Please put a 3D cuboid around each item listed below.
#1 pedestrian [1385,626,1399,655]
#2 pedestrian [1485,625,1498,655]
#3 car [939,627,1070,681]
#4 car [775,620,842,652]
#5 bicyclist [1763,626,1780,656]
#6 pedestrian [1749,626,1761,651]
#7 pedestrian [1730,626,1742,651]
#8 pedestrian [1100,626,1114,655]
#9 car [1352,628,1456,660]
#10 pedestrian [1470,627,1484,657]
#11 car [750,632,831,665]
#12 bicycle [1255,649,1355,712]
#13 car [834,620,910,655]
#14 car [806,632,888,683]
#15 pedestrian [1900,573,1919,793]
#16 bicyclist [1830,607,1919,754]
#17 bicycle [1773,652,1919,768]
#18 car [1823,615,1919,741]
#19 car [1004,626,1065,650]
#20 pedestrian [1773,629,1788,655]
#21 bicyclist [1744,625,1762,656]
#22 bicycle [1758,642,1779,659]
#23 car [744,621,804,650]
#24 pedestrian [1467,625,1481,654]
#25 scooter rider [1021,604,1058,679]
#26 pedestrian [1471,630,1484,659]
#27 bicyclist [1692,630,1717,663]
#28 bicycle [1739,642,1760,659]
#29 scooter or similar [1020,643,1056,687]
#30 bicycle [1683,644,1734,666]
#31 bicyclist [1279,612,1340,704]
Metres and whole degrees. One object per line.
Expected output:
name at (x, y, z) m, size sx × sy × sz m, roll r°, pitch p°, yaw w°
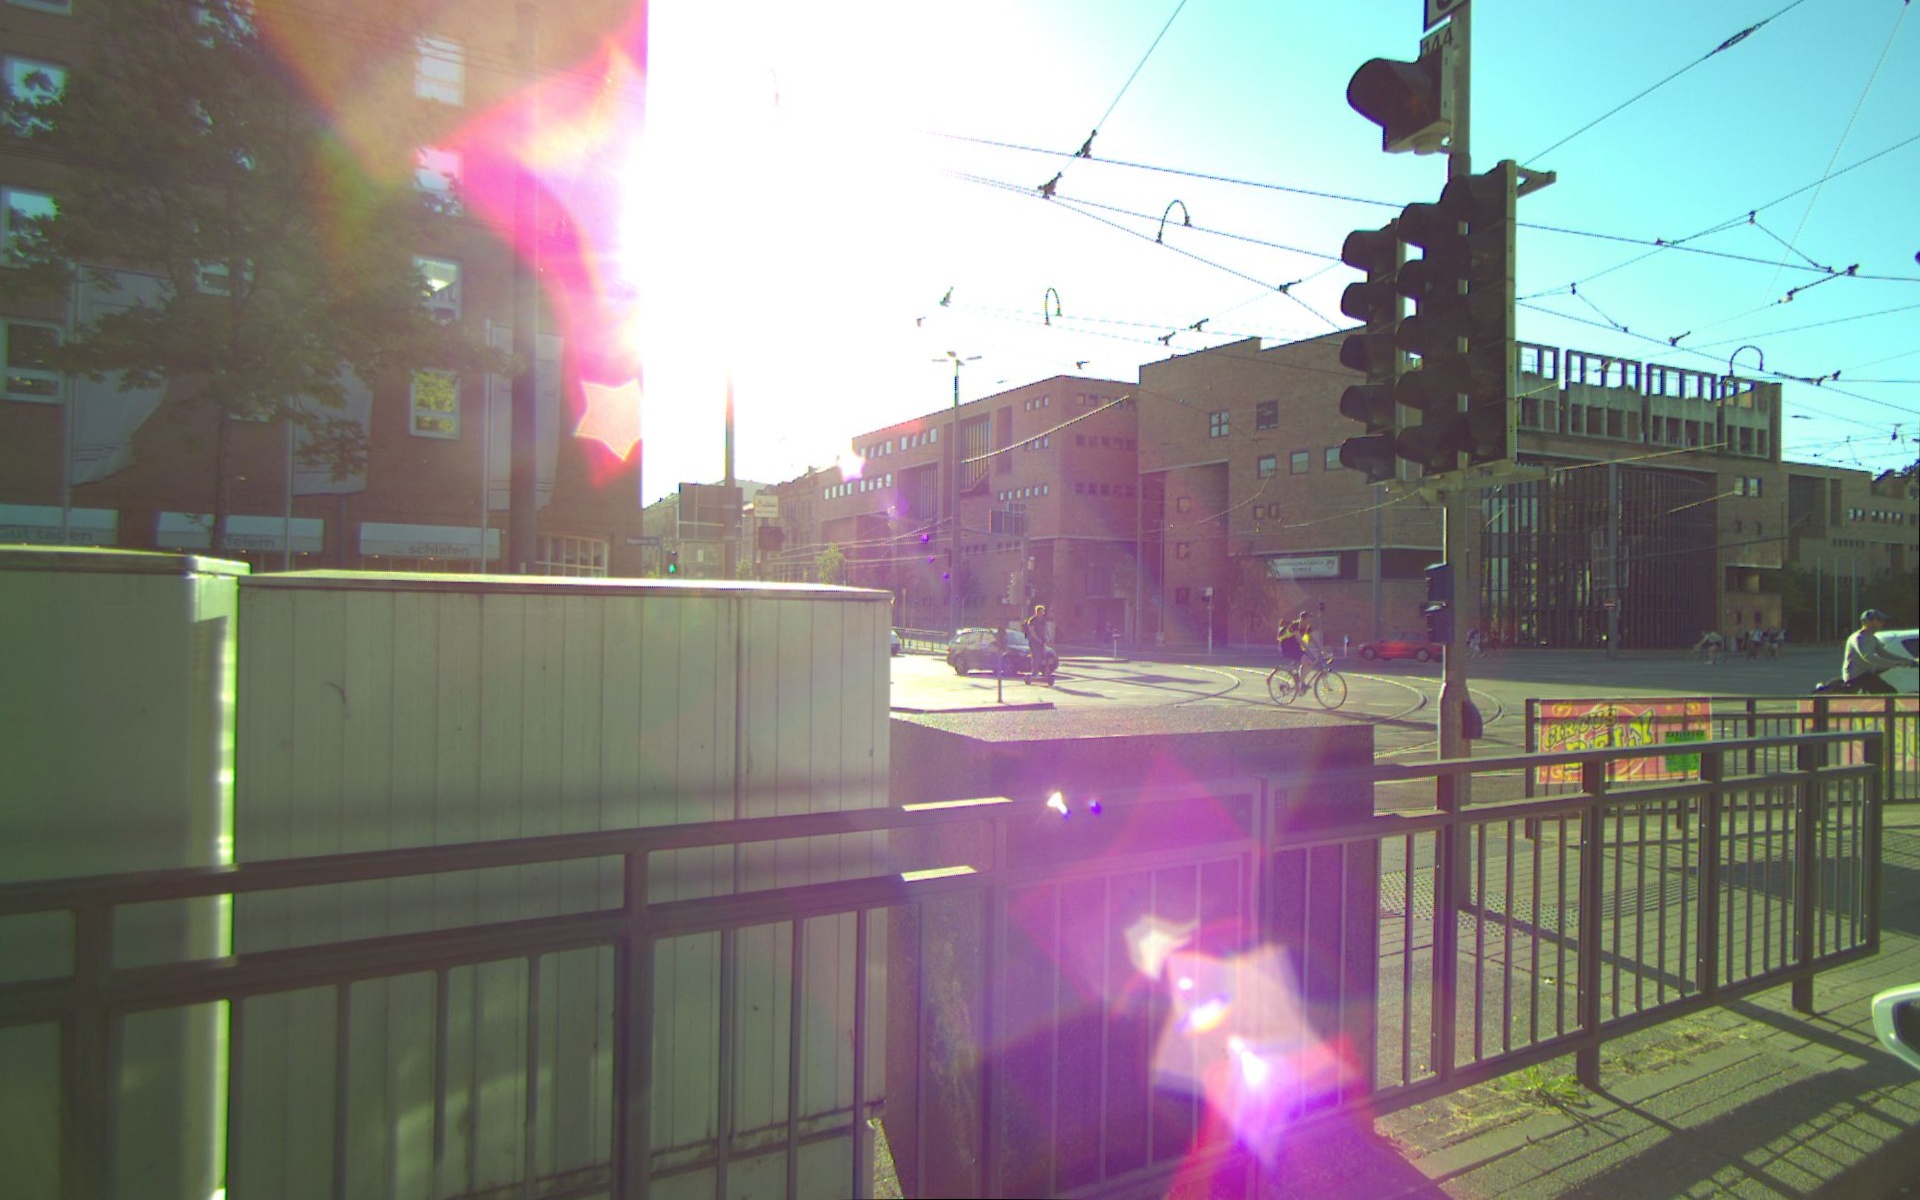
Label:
pedestrian at (24.373, 2.275, 56.641) m, size 0.560 × 1.635 × 0.545 m, roll 0°, pitch -1°, yaw 1°
pedestrian at (30.342, 2.290, 57.344) m, size 0.530 × 1.672 × 0.622 m, roll -1°, pitch -2°, yaw 41°
car at (1.363, 1.692, 32.530) m, size 1.981 × 1.538 × 4.353 m, roll 0°, pitch -1°, yaw -37°
car at (-8.643, 2.003, 56.959) m, size 1.981 × 1.719 × 4.316 m, roll 1°, pitch -2°, yaw -36°
bicyclist at (45.096, 2.277, 55.817) m, size 0.782 × 1.697 × 0.589 m, roll 1°, pitch -1°, yaw -36°
pedestrian at (57.066, 2.769, 72.076) m, size 0.538 × 1.834 × 0.489 m, roll 1°, pitch -1°, yaw -23°
pedestrian at (55.727, 2.759, 72.100) m, size 0.538 × 1.834 × 0.489 m, roll 1°, pitch -1°, yaw -23°
pedestrian at (8.635, 2.360, 59.040) m, size 0.608 × 1.635 × 0.540 m, roll -1°, pitch 2°, yaw -35°
car at (21.055, 2.066, 47.742) m, size 1.780 × 1.411 × 4.207 m, roll 2°, pitch -2°, yaw -39°
pedestrian at (29.789, 2.408, 57.888) m, size 0.530 × 1.672 × 0.622 m, roll 1°, pitch -1°, yaw 41°
car at (-7.704, 2.166, 45.406) m, size 1.980 × 1.398 × 4.351 m, roll 1°, pitch -2°, yaw -35°
bicycle at (6.564, 1.508, 19.213) m, size 0.621 × 1.078 × 1.916 m, roll 1°, pitch -1°, yaw -27°
car at (-4.609, 1.901, 52.048) m, size 1.981 × 1.719 × 4.316 m, roll 1°, pitch -2°, yaw -36°
car at (-3.502, 1.715, 30.650) m, size 1.616 × 1.416 × 3.288 m, roll 1°, pitch -2°, yaw -23°
pedestrian at (8.726, 0.702, 8.326) m, size 1.032 × 1.846 × 1.200 m, roll 2°, pitch -1°, yaw -36°
bicyclist at (11.199, 0.942, 12.102) m, size 0.682 × 1.703 × 0.901 m, roll 1°, pitch -1°, yaw -26°
bicycle at (11.257, 1.299, 12.010) m, size 1.058 × 1.243 × 2.150 m, roll 0°, pitch -1°, yaw -26°
car at (14.954, 1.097, 13.480) m, size 1.980 × 1.750 × 4.802 m, roll 1°, pitch -1°, yaw -35°
car at (5.115, 2.578, 69.053) m, size 1.781 × 1.623 × 4.206 m, roll 2°, pitch -2°, yaw -40°
pedestrian at (57.988, 2.964, 70.951) m, size 0.538 × 1.834 × 0.640 m, roll 1°, pitch -1°, yaw -23°
bicyclist at (44.512, 2.259, 56.353) m, size 0.782 × 1.697 × 0.589 m, roll 1°, pitch -1°, yaw -36°
bicycle at (44.991, 2.795, 55.871) m, size 1.823 × 0.893 × 0.509 m, roll 2°, pitch -2°, yaw -38°
car at (-11.450, 2.180, 61.717) m, size 1.981 × 1.719 × 4.316 m, roll 1°, pitch -2°, yaw -36°
pedestrian at (29.316, 2.237, 57.280) m, size 0.530 × 1.672 × 0.622 m, roll -1°, pitch -2°, yaw 41°
scooter rider at (2.084, 1.078, 26.249) m, size 0.727 × 1.921 × 0.661 m, roll 1°, pitch -2°, yaw -27°
pedestrian at (30.150, 2.580, 58.540) m, size 0.530 × 1.672 × 0.622 m, roll -2°, pitch -1°, yaw 41°
bicyclist at (31.839, 1.972, 42.973) m, size 0.810 × 1.384 × 0.398 m, roll -1°, pitch -2°, yaw 45°
bicycle at (44.339, 2.825, 56.428) m, size 1.823 × 0.893 × 0.509 m, roll 2°, pitch -2°, yaw -38°
scooter or similar at (2.028, 1.684, 26.256) m, size 0.397 × 1.119 × 1.202 m, roll 1°, pitch -1°, yaw -26°
bicycle at (31.935, 2.341, 42.872) m, size 1.723 × 0.911 × 0.406 m, roll -1°, pitch -2°, yaw 45°
bicyclist at (6.636, 1.082, 19.082) m, size 0.631 × 1.686 × 0.901 m, roll 1°, pitch -1°, yaw -27°
